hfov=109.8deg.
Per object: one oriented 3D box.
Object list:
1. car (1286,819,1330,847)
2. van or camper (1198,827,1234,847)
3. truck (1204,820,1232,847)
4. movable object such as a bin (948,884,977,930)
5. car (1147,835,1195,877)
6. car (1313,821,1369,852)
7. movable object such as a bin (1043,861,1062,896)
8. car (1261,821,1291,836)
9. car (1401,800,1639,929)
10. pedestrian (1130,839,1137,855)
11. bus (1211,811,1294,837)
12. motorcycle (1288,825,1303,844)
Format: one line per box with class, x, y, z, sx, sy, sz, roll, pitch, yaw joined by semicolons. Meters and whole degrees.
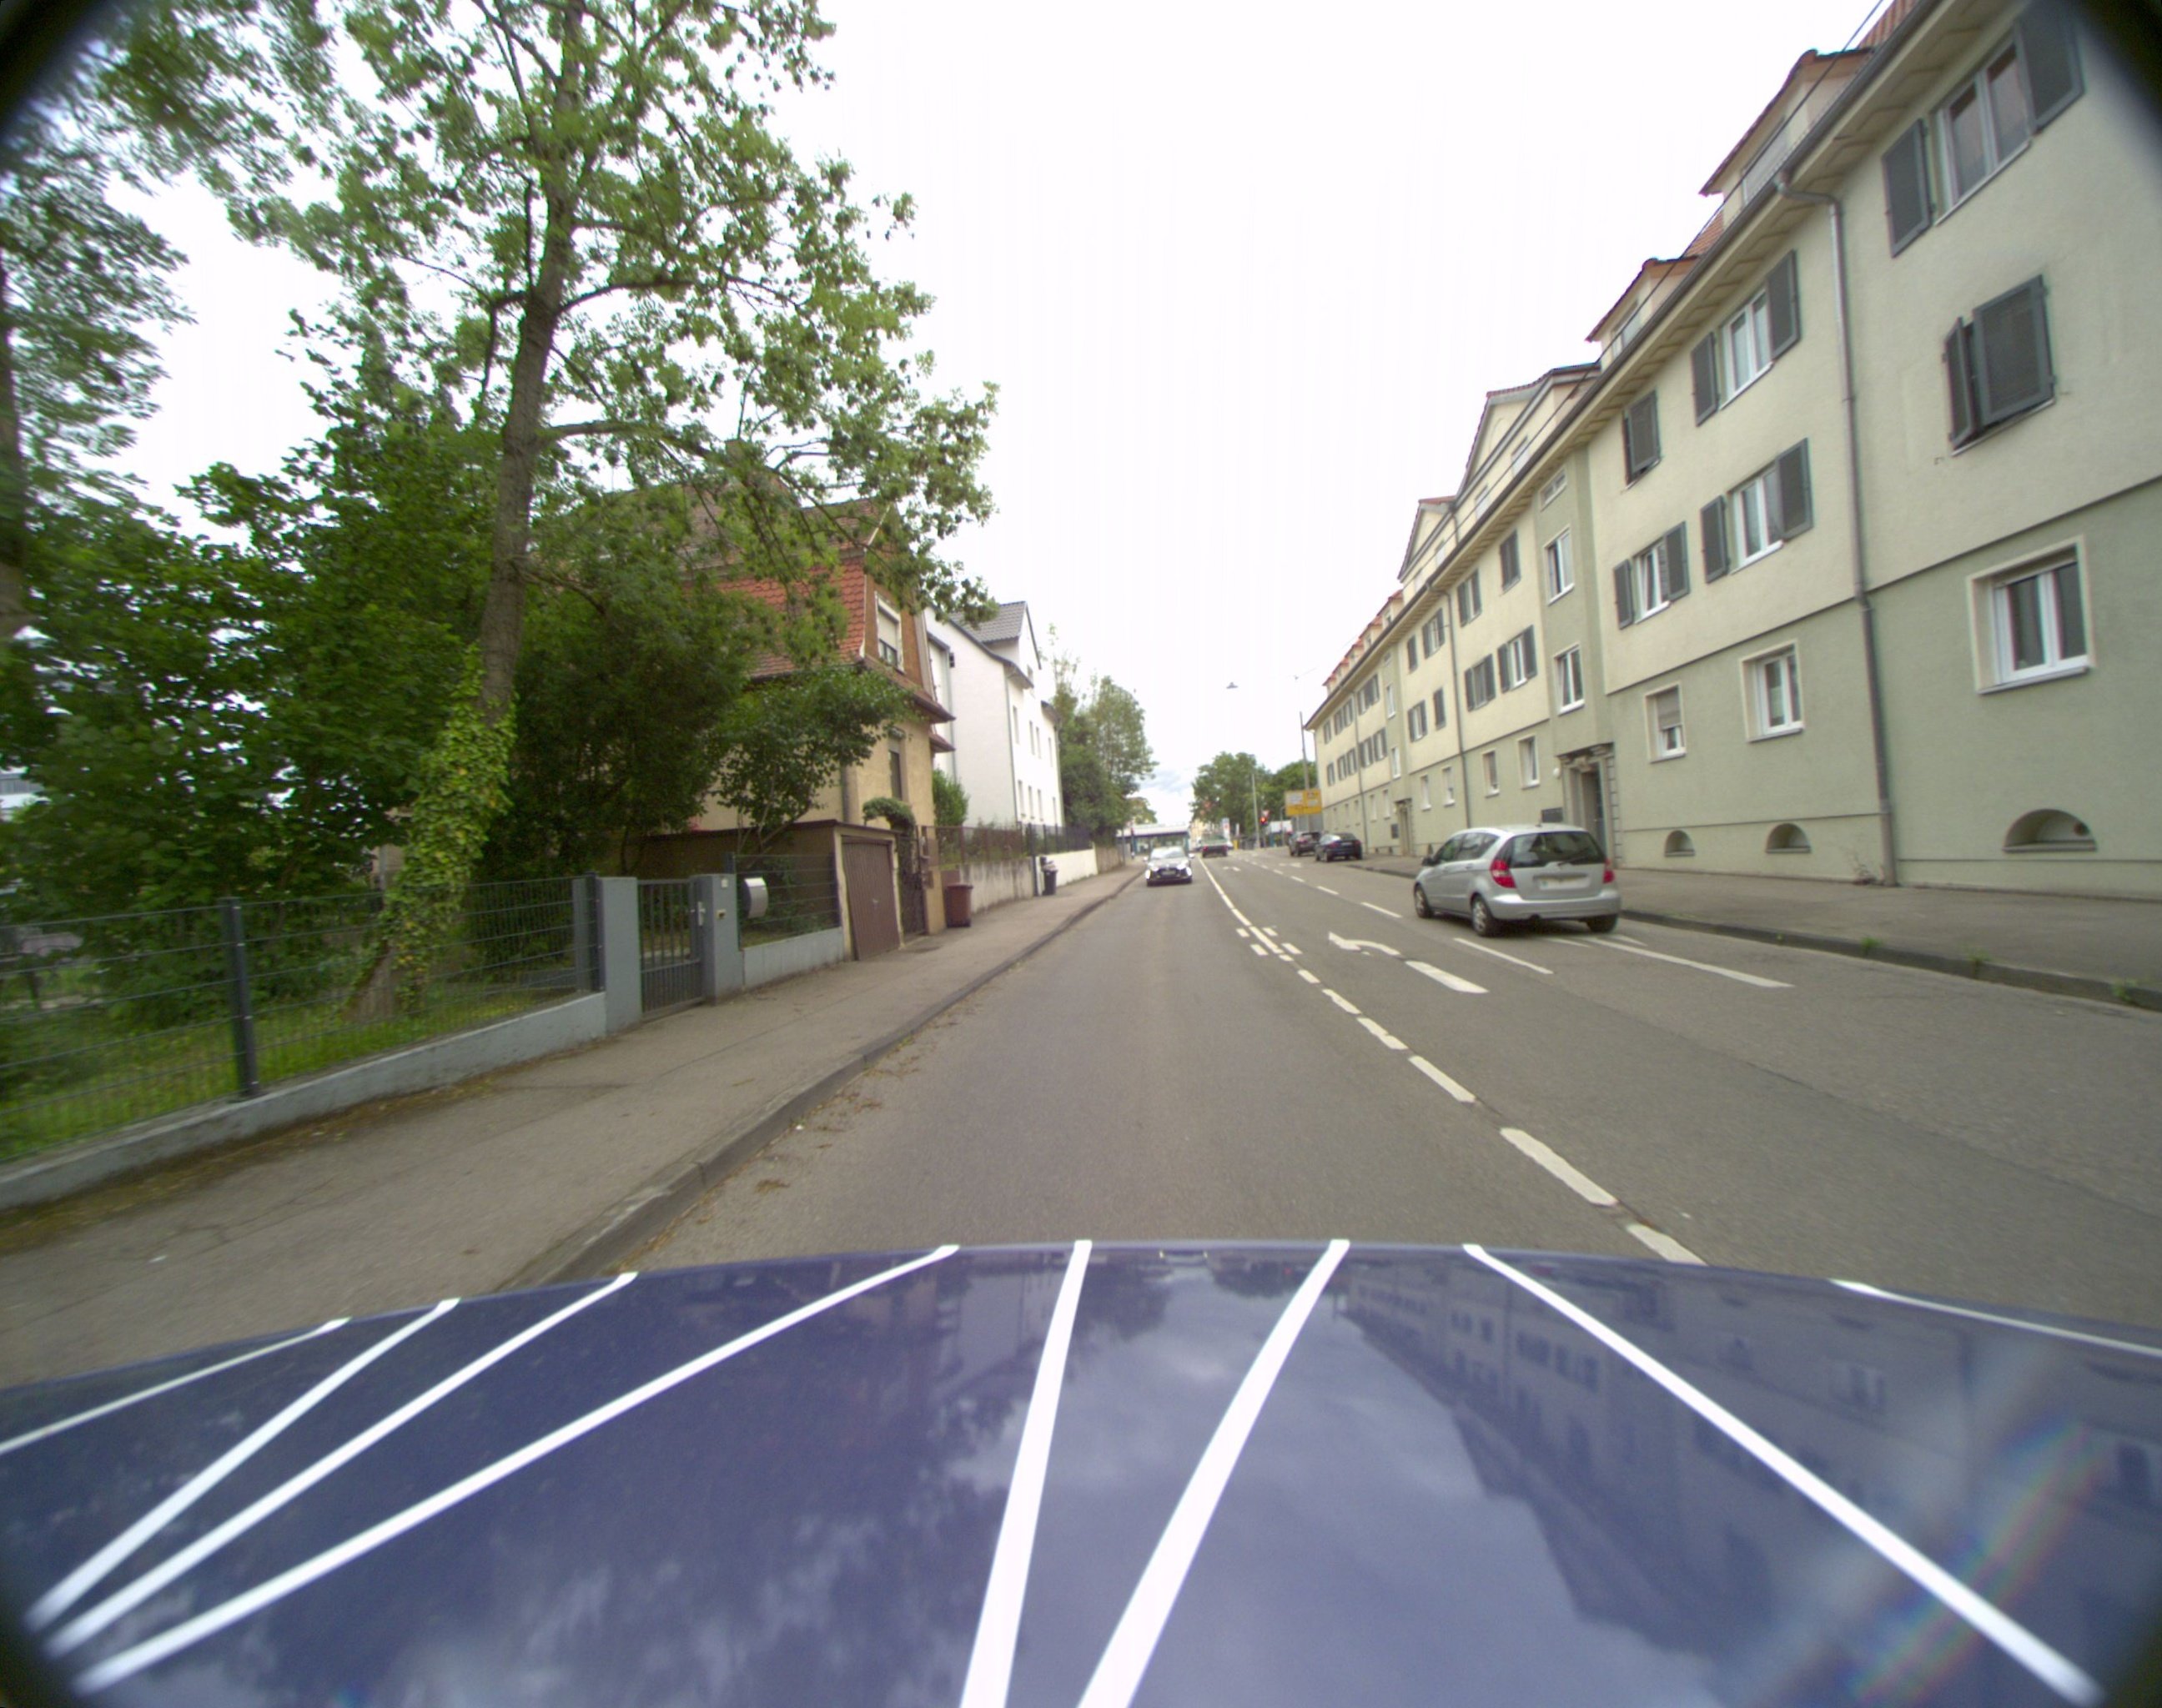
car;14.753;-1.400;49.587;1.825;1.624;4.697;-5;2;7
van or camper;15.882;-2.037;89.435;4.049;2.003;2.000;-4;2;8
truck;11.963;-1.850;66.707;2.125;2.189;6.591;-3;2;9
movable object such as a bin;-2.505;1.115;16.089;0.462;0.919;0.566;-1;3;7
car;3.577;0.037;29.683;1.645;1.390;3.783;-4;1;9
car;13.238;-0.948;38.992;1.714;1.395;4.846;-4;2;8
movable object such as a bin;-0.979;0.847;26.327;0.529;1.172;0.634;-1;3;7
car;29.896;-3.894;116.461;3.996;2.177;2.000;-3;2;3
car;6.609;0.103;11.987;1.726;1.596;3.978;-4;1;6
pedestrian;5.263;-0.748;76.205;0.552;1.582;0.672;-1;3;6
bus;25.433;-4.391;113.151;11.839;3.045;2.002;-3;0;12
motorcycle;15.415;-1.409;54.641;0.626;1.283;2.230;-6;2;7
